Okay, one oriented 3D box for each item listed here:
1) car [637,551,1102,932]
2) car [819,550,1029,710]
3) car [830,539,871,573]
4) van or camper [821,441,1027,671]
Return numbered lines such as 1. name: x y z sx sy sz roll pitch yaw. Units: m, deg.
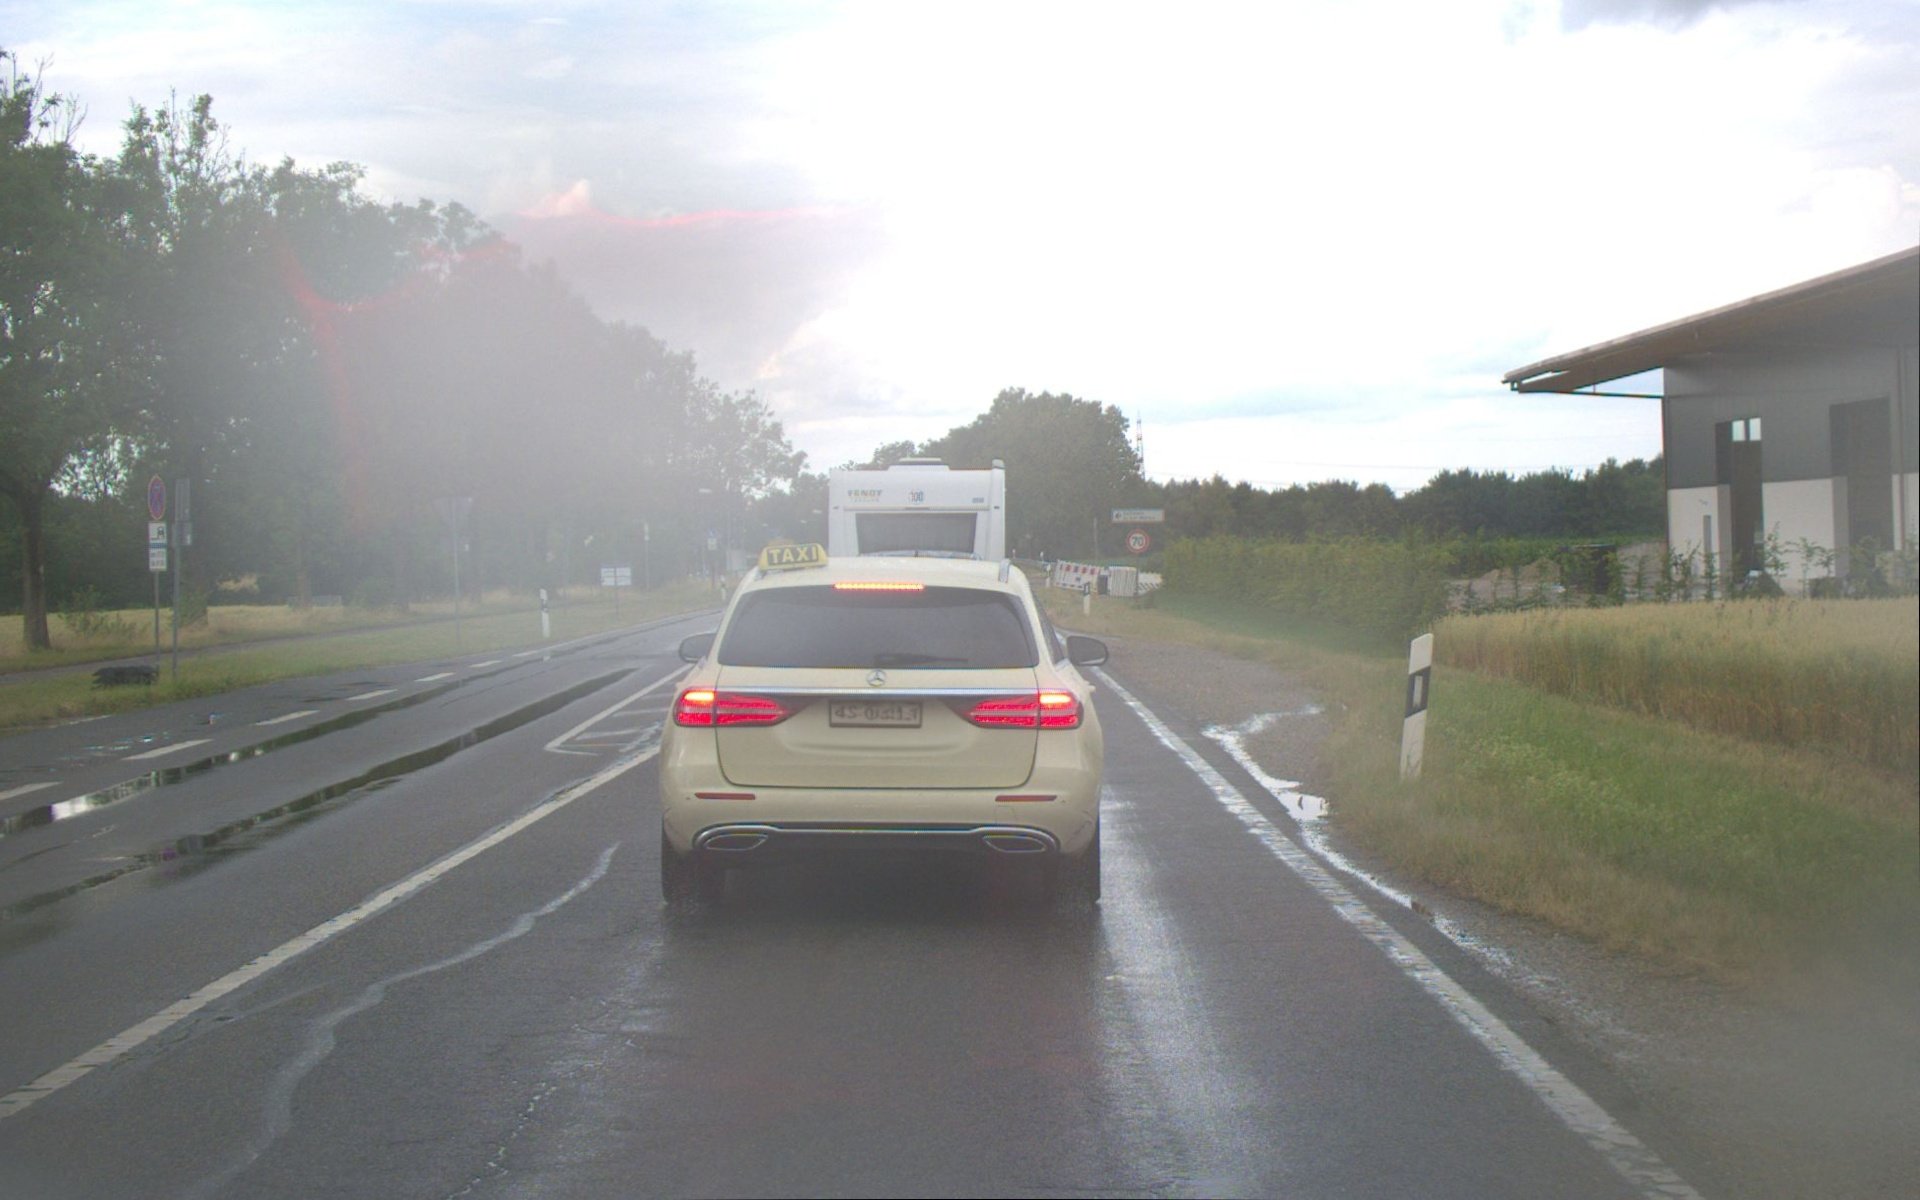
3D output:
1. car: -0.346 0.522 15.343 1.797 1.459 4.031 0 1 0
2. car: -0.352 0.246 33.235 1.894 1.424 3.928 -1 1 -1
3. car: -5.538 -2.232 174.721 1.916 1.626 4.357 -3 1 0
4. van or camper: -0.424 -0.594 46.575 2.497 2.821 5.934 -2 1 1
